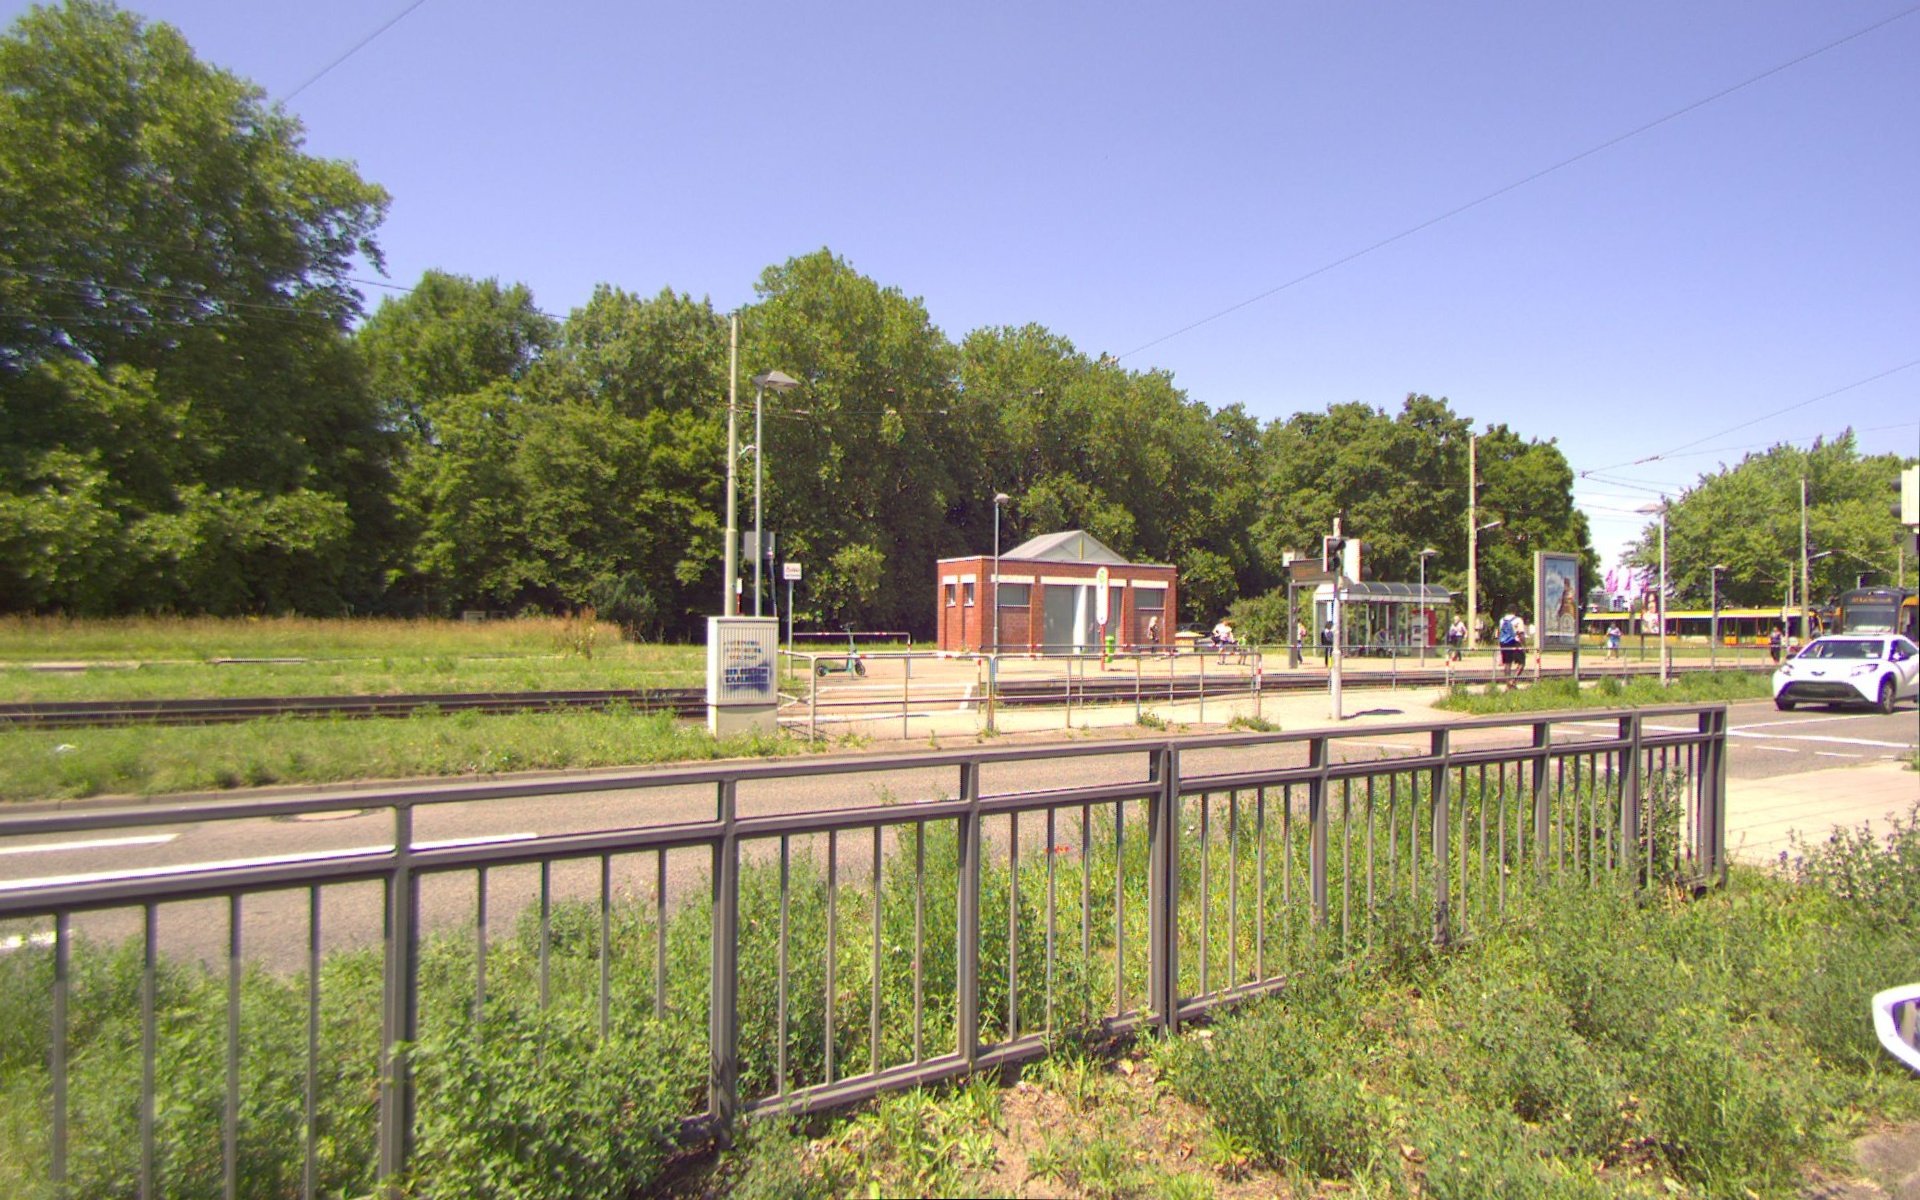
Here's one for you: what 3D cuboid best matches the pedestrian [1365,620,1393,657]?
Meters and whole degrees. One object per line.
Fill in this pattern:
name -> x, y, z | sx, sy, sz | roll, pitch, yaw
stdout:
pedestrian -> 17.248, 1.577, 41.372 | 0.710, 1.531, 0.841 | 1, -1, -19

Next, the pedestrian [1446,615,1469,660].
pedestrian -> 20.106, 1.508, 40.588 | 0.707, 1.824, 0.845 | 0, -1, 17

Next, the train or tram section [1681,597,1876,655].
train or tram section -> 63.499, 1.979, 79.007 | 3.160, 3.984, 18.513 | 1, -1, 10

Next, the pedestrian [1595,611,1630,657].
pedestrian -> 29.307, 1.533, 45.090 | 1.009, 2.040, 0.976 | 1, -1, -30

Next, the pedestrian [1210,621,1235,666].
pedestrian -> 8.705, 1.449, 33.323 | 0.573, 1.476, 0.639 | 1, -1, -15

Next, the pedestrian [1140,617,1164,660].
pedestrian -> 6.719, 1.349, 35.174 | 0.563, 1.499, 0.636 | 1, -1, -30

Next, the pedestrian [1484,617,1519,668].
pedestrian -> 20.036, 1.553, 37.152 | 0.832, 1.802, 0.714 | -1, 5, -30

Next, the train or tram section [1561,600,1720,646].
train or tram section -> 65.135, 2.200, 97.223 | 3.162, 3.984, 18.505 | 1, -1, 1

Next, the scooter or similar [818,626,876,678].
scooter or similar -> -2.635, 1.207, 23.450 | 1.217, 1.183, 0.508 | 1, -1, -30

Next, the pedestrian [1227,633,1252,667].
pedestrian -> 9.305, 1.658, 33.416 | 0.560, 1.139, 0.639 | 1, -1, -15

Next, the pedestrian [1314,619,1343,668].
pedestrian -> 11.872, 1.396, 32.380 | 0.688, 1.575, 0.629 | 1, -1, -42

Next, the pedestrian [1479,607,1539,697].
pedestrian -> 11.655, 1.077, 21.328 | 0.832, 1.802, 0.714 | -1, 5, -30

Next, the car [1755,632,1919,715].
car -> 18.112, 1.434, 20.427 | 3.747, 1.514, 1.836 | 1, -1, -30

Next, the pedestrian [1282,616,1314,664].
pedestrian -> 11.712, 1.379, 34.800 | 0.799, 1.611, 0.668 | 1, -1, -30

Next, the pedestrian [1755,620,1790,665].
pedestrian -> 37.373, 1.942, 46.214 | 1.009, 2.040, 0.976 | 1, -1, -30

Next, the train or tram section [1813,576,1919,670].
train or tram section -> 46.216, 1.186, 49.255 | 18.337, 3.984, 3.191 | 2, -1, -38

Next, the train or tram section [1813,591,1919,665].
train or tram section -> 57.427, 1.738, 62.409 | 3.168, 3.984, 18.470 | 0, -1, 29
